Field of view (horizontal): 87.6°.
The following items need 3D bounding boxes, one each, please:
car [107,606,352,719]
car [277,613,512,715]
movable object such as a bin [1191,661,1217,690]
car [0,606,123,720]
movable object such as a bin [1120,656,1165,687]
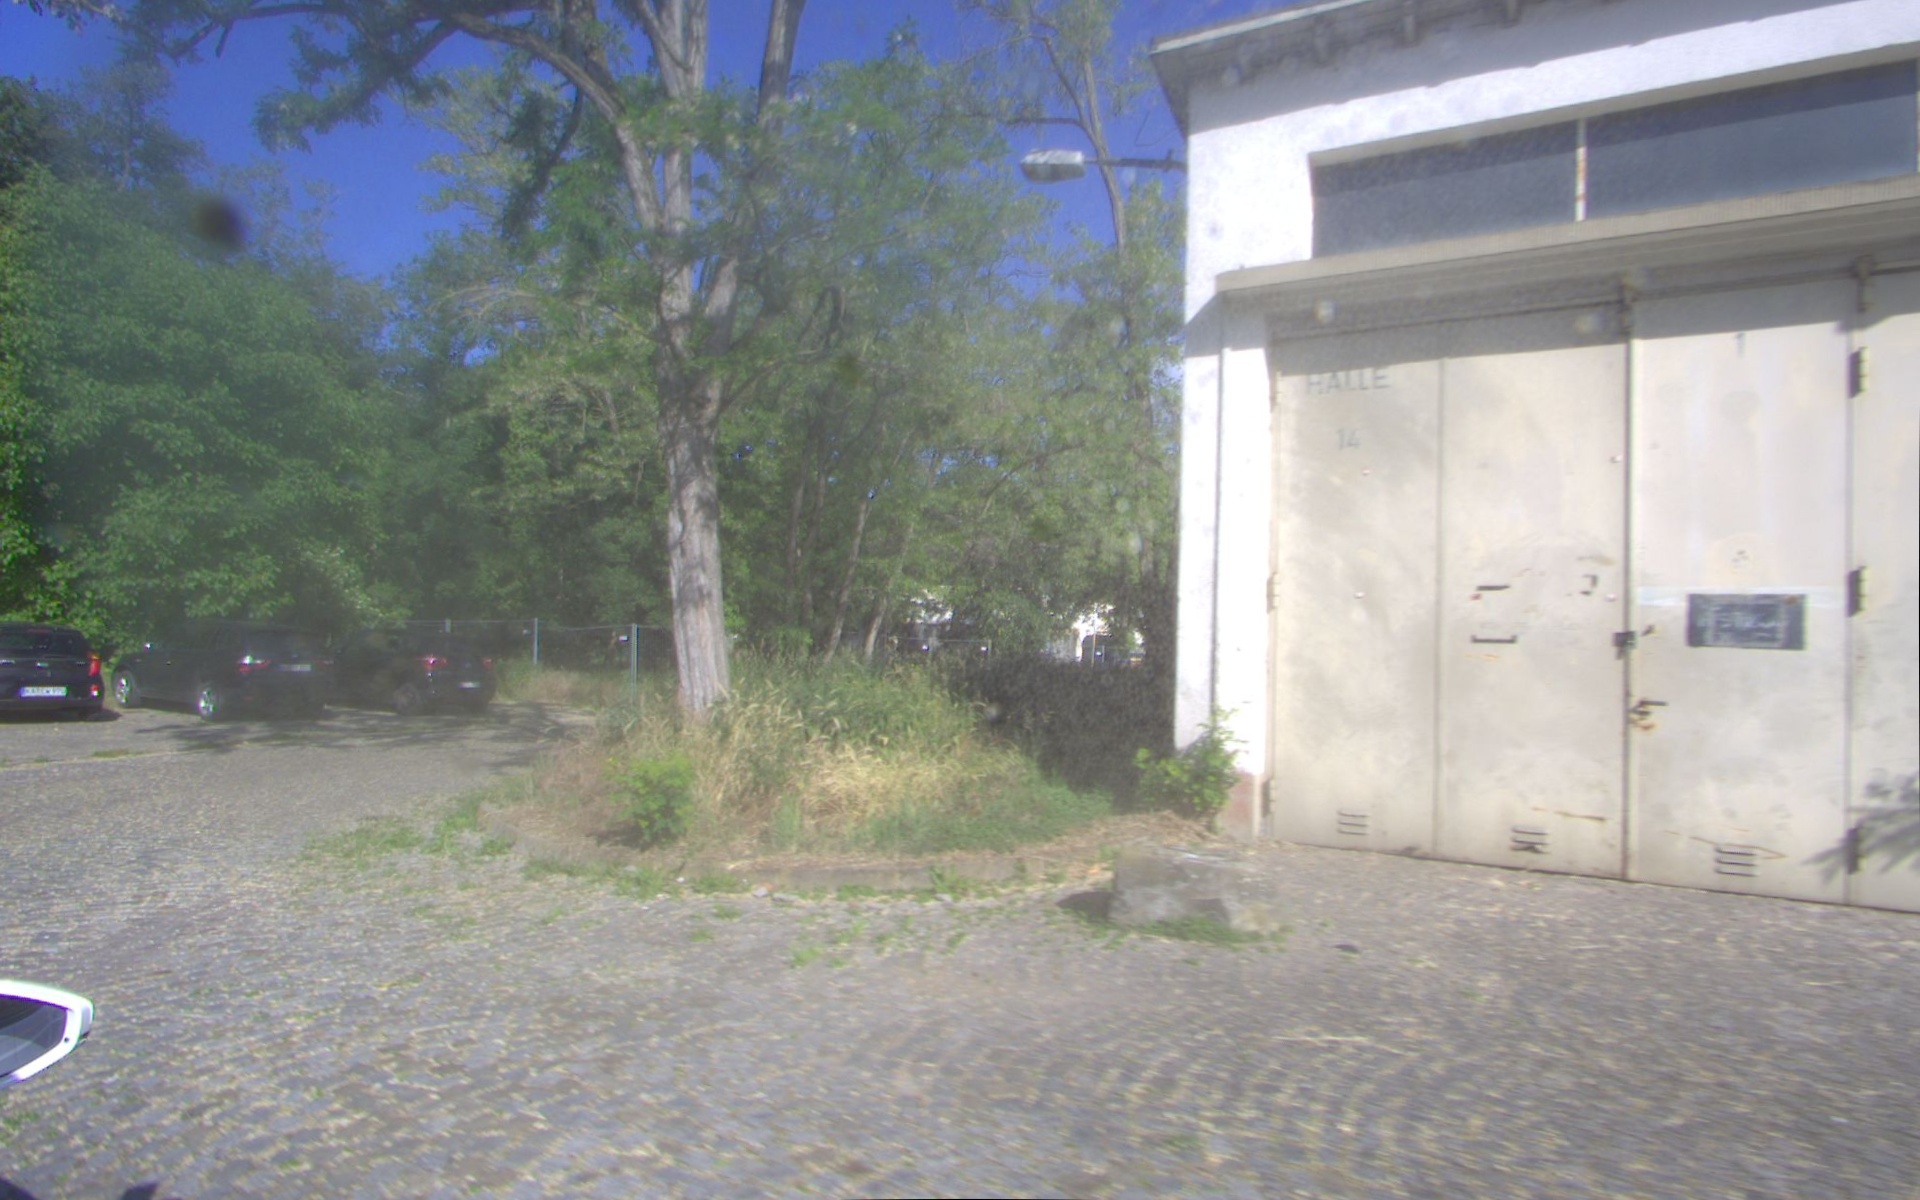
[{"bbox_3d":[-13.118,1.075,17.959,4.123,1.677,1.813,2,-2,27],"label":"car"},{"bbox_3d":[-11.638,1.282,20.632,4.223,1.672,1.791,3,-2,20],"label":"car"},{"bbox_3d":[13.167,4.064,53.948,1.227,1.462,0.701,1,-2,22],"label":"movable object such as a bin"},{"bbox_3d":[-14.806,0.907,15.621,3.500,1.535,1.671,2,-2,33],"label":"car"},{"bbox_3d":[10.097,3.934,55.361,2.256,1.611,1.173,1,-3,22],"label":"movable object such as a bin"}]
